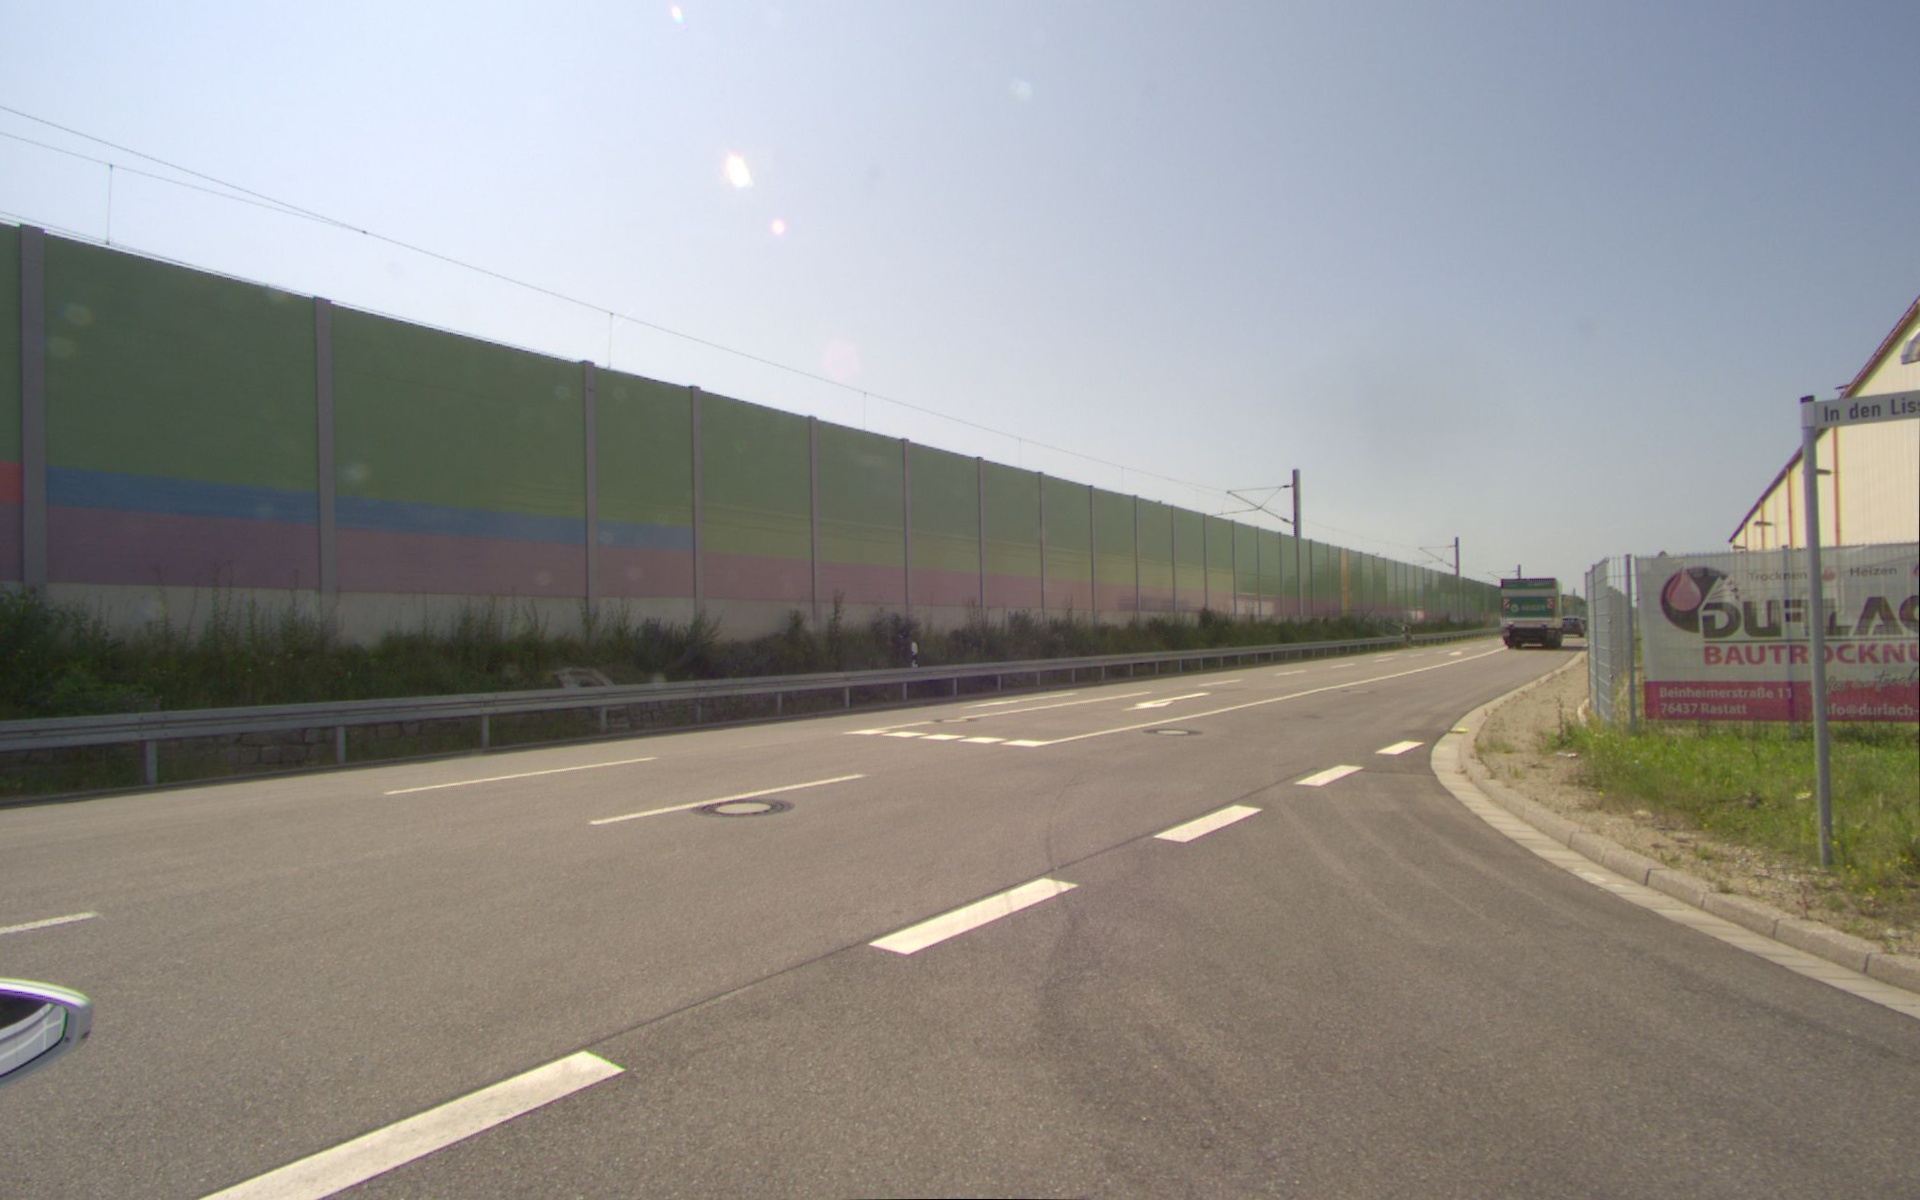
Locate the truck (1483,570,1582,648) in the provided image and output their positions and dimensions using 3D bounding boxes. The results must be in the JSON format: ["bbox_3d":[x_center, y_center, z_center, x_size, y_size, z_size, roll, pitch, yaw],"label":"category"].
[{"bbox_3d":[32.443,0.674,56.426,3.521,3.927,11.343,-2,-3,36],"label":"truck"}]

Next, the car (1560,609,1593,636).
[{"bbox_3d":[49.776,1.840,80.792,1.974,2.039,3.975,-2,-2,36],"label":"car"}]

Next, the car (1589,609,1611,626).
[{"bbox_3d":[78.695,2.201,123.062,1.974,2.039,3.975,-2,-2,36],"label":"car"}]
